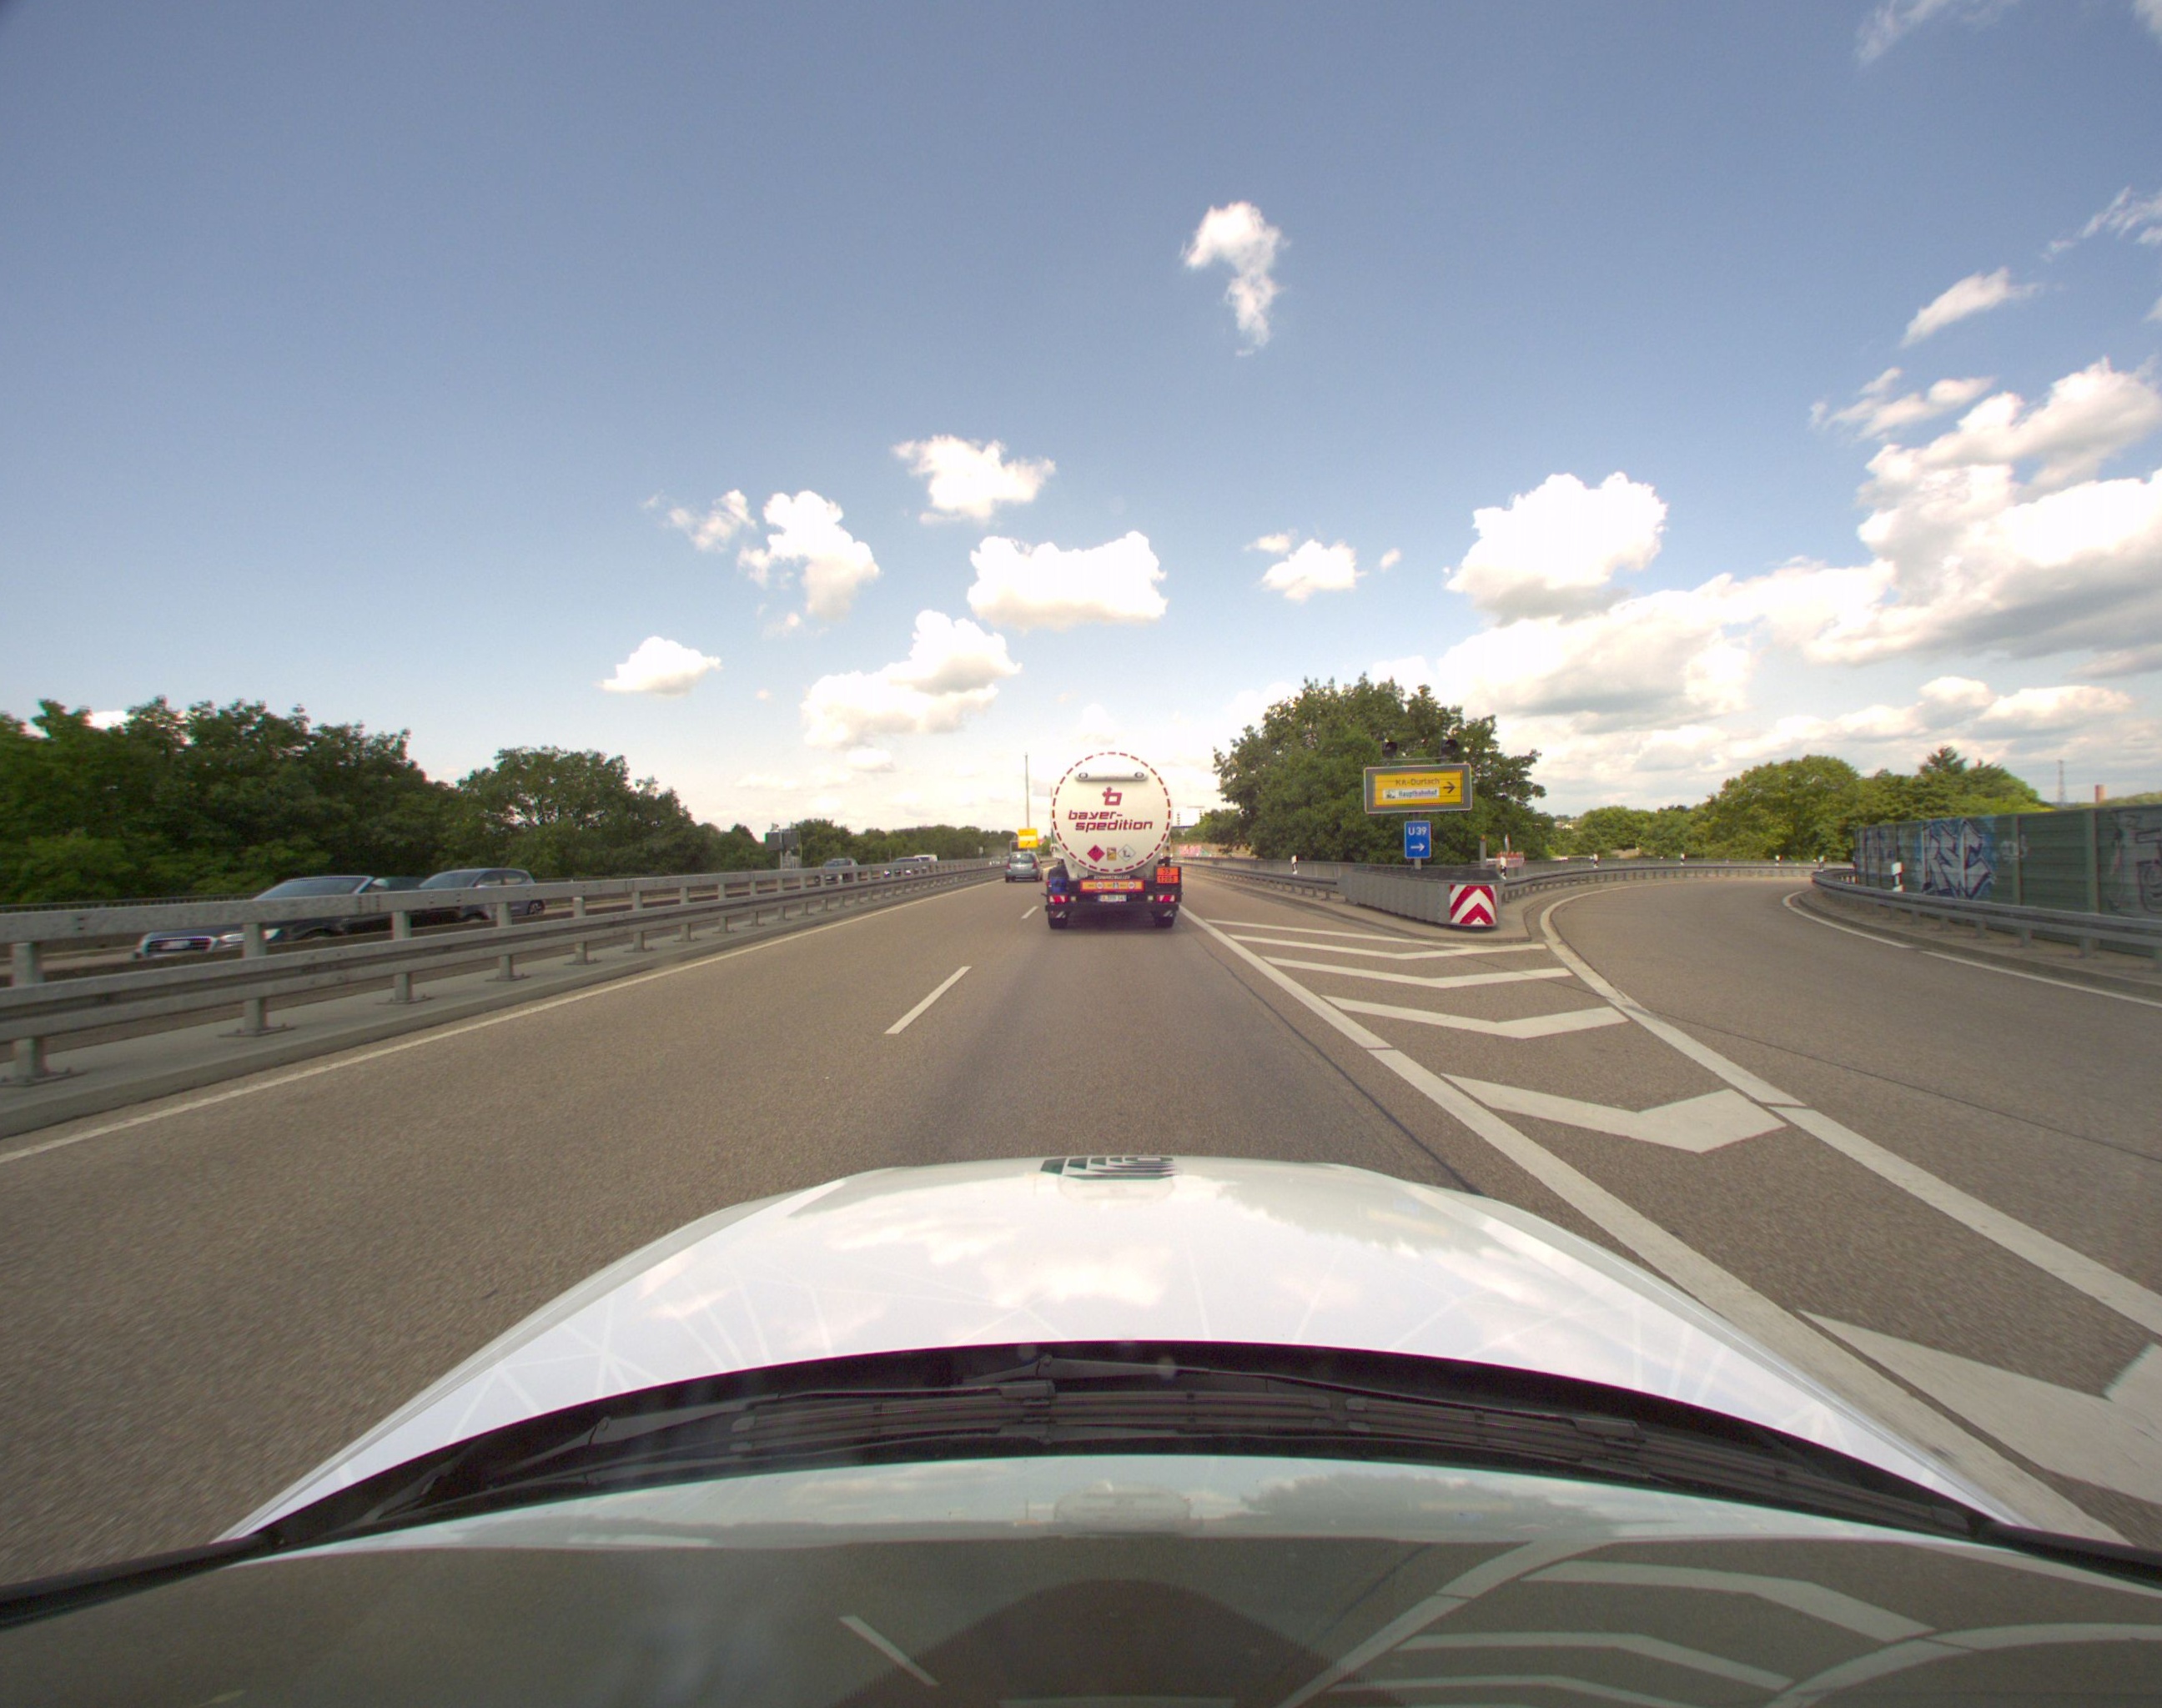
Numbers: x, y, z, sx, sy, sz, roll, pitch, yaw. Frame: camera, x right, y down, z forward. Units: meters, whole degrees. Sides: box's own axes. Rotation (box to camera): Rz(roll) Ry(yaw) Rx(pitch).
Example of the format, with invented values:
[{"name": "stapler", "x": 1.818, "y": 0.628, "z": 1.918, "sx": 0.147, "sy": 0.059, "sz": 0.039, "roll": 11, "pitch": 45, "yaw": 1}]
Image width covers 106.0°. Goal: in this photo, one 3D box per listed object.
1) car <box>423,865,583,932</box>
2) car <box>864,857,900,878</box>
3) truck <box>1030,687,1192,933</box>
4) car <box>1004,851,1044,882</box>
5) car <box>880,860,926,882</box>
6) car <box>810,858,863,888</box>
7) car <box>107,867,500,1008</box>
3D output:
[{"name": "car", "x": -15.118, "y": 1.096, "z": 21.539, "sx": 1.593, "sy": 1.474, "sz": 3.630, "roll": -3, "pitch": 0, "yaw": -1}, {"name": "car", "x": -16.081, "y": 1.055, "z": 65.967, "sx": 1.885, "sy": 1.640, "sz": 4.511, "roll": 0, "pitch": 0, "yaw": -1}, {"name": "truck", "x": 0.583, "y": -0.780, "z": 18.509, "sx": 2.885, "sy": 4.368, "sz": 8.029, "roll": 0, "pitch": 0, "yaw": 1}, {"name": "car", "x": -2.987, "y": 0.638, "z": 43.103, "sx": 1.741, "sy": 1.531, "sz": 4.001, "roll": -1, "pitch": 0, "yaw": 1}, {"name": "car", "x": -10.114, "y": 0.957, "z": 46.540, "sx": 1.675, "sy": 1.185, "sz": 4.001, "roll": 0, "pitch": 0, "yaw": 1}, {"name": "car", "x": -14.206, "y": 1.064, "z": 47.560, "sx": 1.815, "sy": 1.639, "sz": 4.001, "roll": 0, "pitch": 0, "yaw": 1}, {"name": "car", "x": -10.493, "y": 1.000, "z": 11.508, "sx": 1.670, "sy": 1.572, "sz": 4.059, "roll": 0, "pitch": 0, "yaw": -1}]
